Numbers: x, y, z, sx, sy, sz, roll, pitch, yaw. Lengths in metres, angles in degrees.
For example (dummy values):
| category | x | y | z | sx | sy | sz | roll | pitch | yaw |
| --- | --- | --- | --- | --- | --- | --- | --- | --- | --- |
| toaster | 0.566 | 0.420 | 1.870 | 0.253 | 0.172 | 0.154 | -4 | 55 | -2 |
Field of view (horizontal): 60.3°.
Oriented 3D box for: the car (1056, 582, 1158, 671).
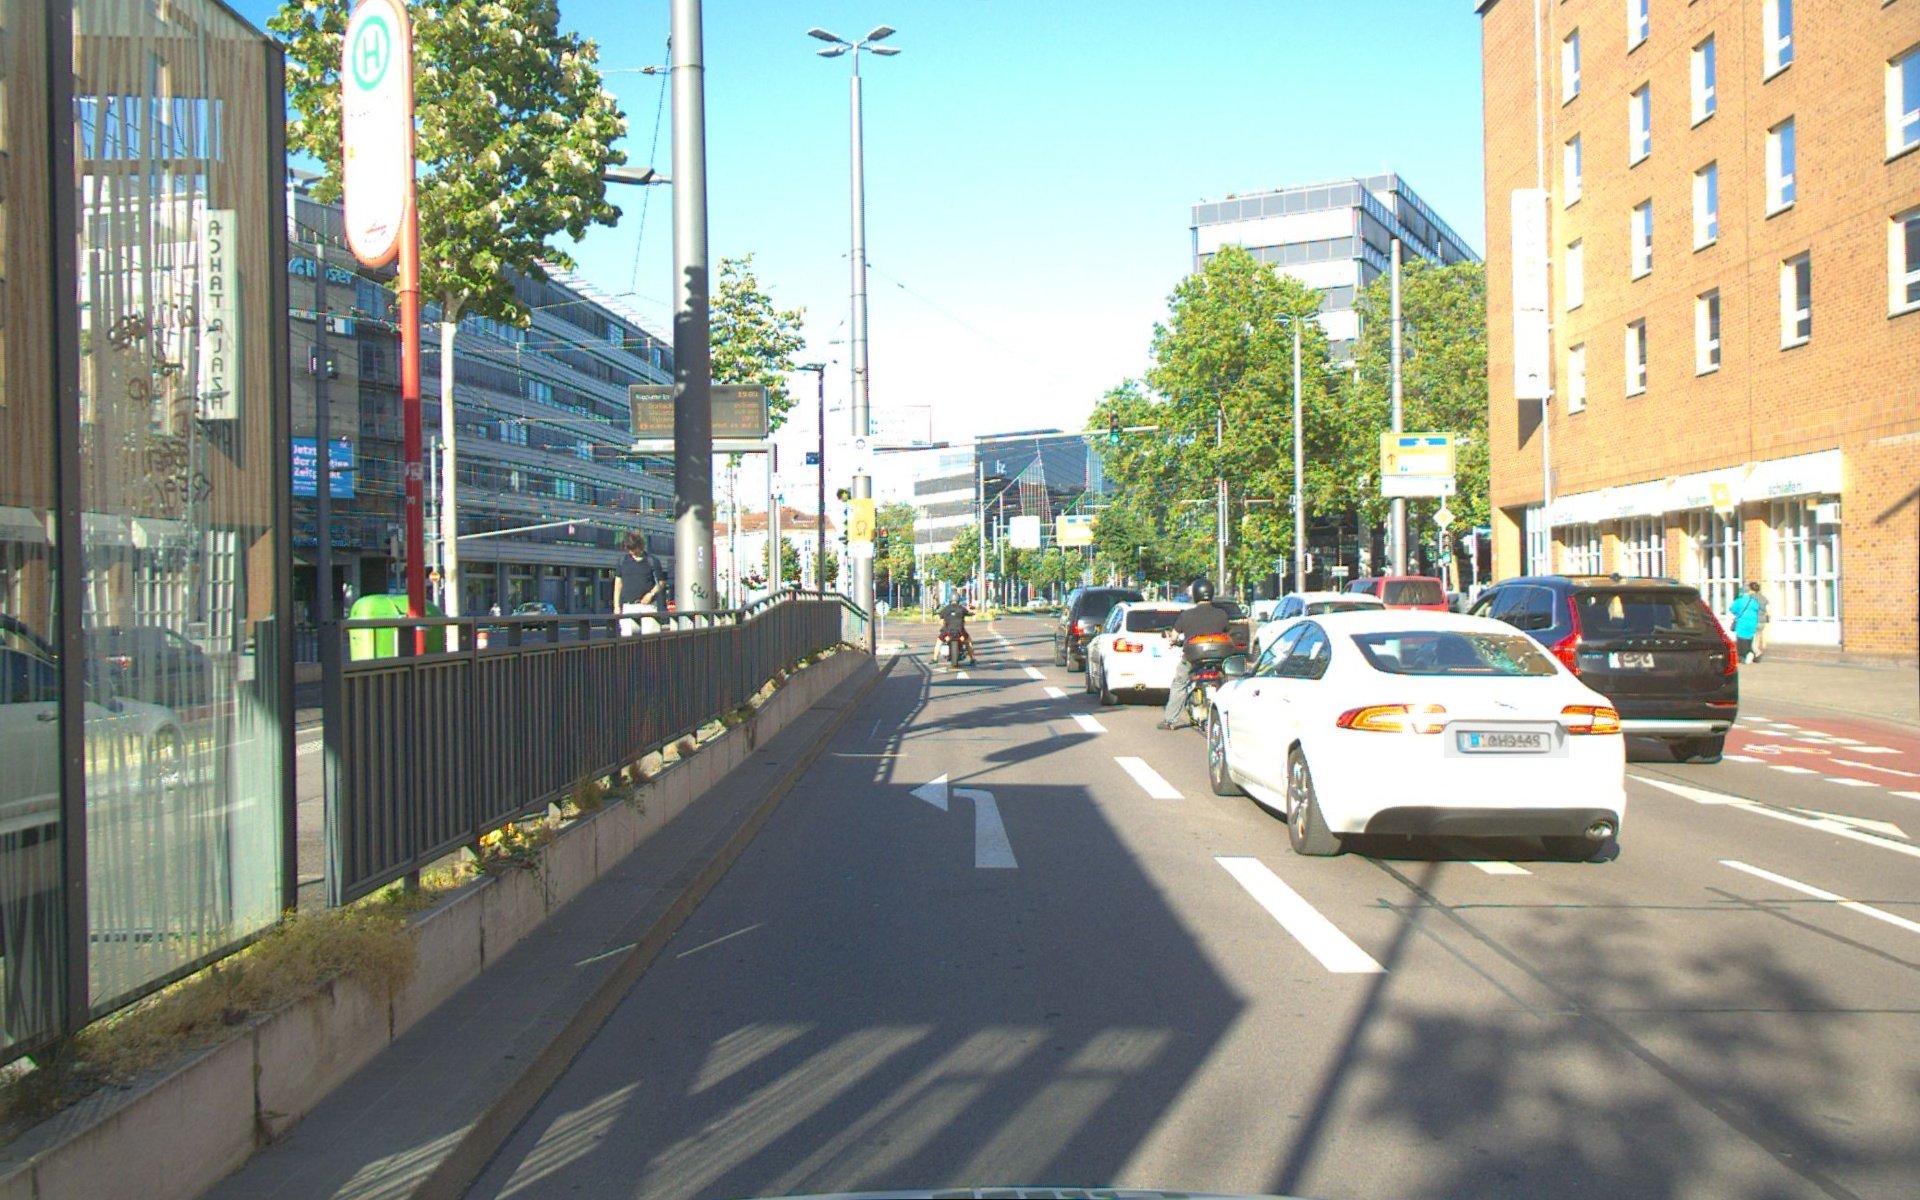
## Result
| category | x | y | z | sx | sy | sz | roll | pitch | yaw |
| --- | --- | --- | --- | --- | --- | --- | --- | --- | --- |
| car | 2.992 | 0.526 | 34.386 | 1.761 | 1.735 | 4.062 | 0 | 0 | 0 |

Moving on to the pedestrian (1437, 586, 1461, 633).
| category | x | y | z | sx | sy | sz | roll | pitch | yaw |
| --- | --- | --- | --- | --- | --- | --- | --- | --- | --- |
| pedestrian | 18.052 | 0.344 | 61.061 | 0.670 | 1.690 | 0.519 | 1 | 0 | 0 |

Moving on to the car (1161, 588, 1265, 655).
| category | x | y | z | sx | sy | sz | roll | pitch | yaw |
| --- | --- | --- | --- | --- | --- | --- | --- | --- | --- |
| car | 6.002 | 0.488 | 39.738 | 1.813 | 1.524 | 4.378 | 0 | 0 | 0 |

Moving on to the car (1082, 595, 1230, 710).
| category | x | y | z | sx | sy | sz | roll | pitch | yaw |
| --- | --- | --- | --- | --- | --- | --- | --- | --- | --- |
| car | 2.827 | 0.714 | 24.679 | 1.658 | 1.523 | 4.408 | 1 | 0 | 0 |

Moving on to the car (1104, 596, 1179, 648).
| category | x | y | z | sx | sy | sz | roll | pitch | yaw |
| --- | --- | --- | --- | --- | --- | --- | --- | --- | --- |
| car | 5.564 | 0.656 | 51.241 | 1.813 | 1.524 | 4.378 | 0 | 0 | 0 |

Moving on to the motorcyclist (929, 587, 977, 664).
| category | x | y | z | sx | sy | sz | roll | pitch | yaw |
| --- | --- | --- | --- | --- | --- | --- | --- | --- | --- |
| motorcyclist | -0.139 | 0.552 | 36.072 | 0.998 | 1.631 | 1.148 | 1 | 0 | 0 |

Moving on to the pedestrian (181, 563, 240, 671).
| category | x | y | z | sx | sy | sz | roll | pitch | yaw |
| --- | --- | --- | --- | --- | --- | --- | --- | --- | --- |
| pedestrian | -12.962 | 0.291 | 28.616 | 0.601 | 1.849 | 0.897 | 0 | 0 | 0 |

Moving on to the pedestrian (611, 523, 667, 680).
| category | x | y | z | sx | sy | sz | roll | pitch | yaw |
| --- | --- | --- | --- | --- | --- | --- | --- | --- | --- |
| pedestrian | -3.545 | 0.016 | 18.292 | 0.509 | 1.698 | 0.550 | 0 | 0 | 0 |

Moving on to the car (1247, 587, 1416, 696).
| category | x | y | z | sx | sy | sz | roll | pitch | yaw |
| --- | --- | --- | --- | --- | --- | --- | --- | --- | --- |
| car | 6.082 | 0.630 | 27.578 | 1.813 | 1.668 | 4.378 | 0 | 0 | 0 |

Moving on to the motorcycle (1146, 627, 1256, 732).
| category | x | y | z | sx | sy | sz | roll | pitch | yaw |
| --- | --- | --- | --- | --- | --- | --- | --- | --- | --- |
| motorcycle | 2.745 | 0.877 | 19.125 | 0.820 | 1.081 | 2.552 | -1 | 0 | -1 |

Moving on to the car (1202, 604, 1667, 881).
| category | x | y | z | sx | sy | sz | roll | pitch | yaw |
| --- | --- | --- | --- | --- | --- | --- | --- | --- | --- |
| car | 2.901 | 0.770 | 11.279 | 1.744 | 1.439 | 4.818 | 1 | 0 | 0 |

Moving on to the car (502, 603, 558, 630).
| category | x | y | z | sx | sy | sz | roll | pitch | yaw |
| --- | --- | --- | --- | --- | --- | --- | --- | --- | --- |
| car | -24.729 | 0.917 | 95.256 | 1.952 | 1.489 | 4.002 | 0 | 0 | 3 |

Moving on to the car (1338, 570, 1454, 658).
| category | x | y | z | sx | sy | sz | roll | pitch | yaw |
| --- | --- | --- | --- | --- | --- | --- | --- | --- | --- |
| car | 10.505 | 0.325 | 40.123 | 1.822 | 1.995 | 4.000 | -1 | 0 | 1 |

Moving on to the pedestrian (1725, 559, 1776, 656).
| category | x | y | z | sx | sy | sz | roll | pitch | yaw |
| --- | --- | --- | --- | --- | --- | --- | --- | --- | --- |
| pedestrian | 15.335 | 0.151 | 32.109 | 0.594 | 1.853 | 0.748 | -1 | -1 | -1 |

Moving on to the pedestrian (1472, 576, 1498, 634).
| category | x | y | z | sx | sy | sz | roll | pitch | yaw |
| --- | --- | --- | --- | --- | --- | --- | --- | --- | --- |
| pedestrian | 16.988 | 0.162 | 53.525 | 0.594 | 1.853 | 0.748 | -1 | -1 | -1 |

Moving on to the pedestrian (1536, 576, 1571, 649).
| category | x | y | z | sx | sy | sz | roll | pitch | yaw |
| --- | --- | --- | --- | --- | --- | --- | --- | --- | --- |
| pedestrian | 15.336 | 0.318 | 42.751 | 0.594 | 1.853 | 0.748 | -1 | -1 | -1 |

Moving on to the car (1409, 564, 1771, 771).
| category | x | y | z | sx | sy | sz | roll | pitch | yaw |
| --- | --- | --- | --- | --- | --- | --- | --- | --- | --- |
| car | 6.212 | 0.596 | 16.962 | 1.934 | 1.790 | 4.632 | 1 | 0 | 0 |

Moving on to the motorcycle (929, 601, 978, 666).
| category | x | y | z | sx | sy | sz | roll | pitch | yaw |
| --- | --- | --- | --- | --- | --- | --- | --- | --- | --- |
| motorcycle | -0.136 | 0.699 | 35.991 | 0.998 | 1.335 | 2.914 | 1 | 0 | 0 |

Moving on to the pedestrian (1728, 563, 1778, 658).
| category | x | y | z | sx | sy | sz | roll | pitch | yaw |
| --- | --- | --- | --- | --- | --- | --- | --- | --- | --- |
| pedestrian | 15.733 | 0.214 | 32.828 | 0.594 | 1.853 | 0.748 | -1 | -1 | -1 |

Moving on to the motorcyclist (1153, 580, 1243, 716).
| category | x | y | z | sx | sy | sz | roll | pitch | yaw |
| --- | --- | --- | --- | --- | --- | --- | --- | --- | --- |
| motorcyclist | 2.731 | 0.533 | 19.089 | 0.820 | 1.501 | 1.236 | -1 | 0 | -2 |

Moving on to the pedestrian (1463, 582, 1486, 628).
| category | x | y | z | sx | sy | sz | roll | pitch | yaw |
| --- | --- | --- | --- | --- | --- | --- | --- | --- | --- |
| pedestrian | 19.327 | 0.178 | 62.091 | 0.683 | 1.690 | 0.519 | 1 | 0 | 0 |

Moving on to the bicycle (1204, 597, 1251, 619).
| category | x | y | z | sx | sy | sz | roll | pitch | yaw |
| --- | --- | --- | --- | --- | --- | --- | --- | --- | --- |
| bicycle | 15.473 | 0.478 | 95.636 | 2.636 | 1.266 | 0.528 | -1 | 0 | 23 |
